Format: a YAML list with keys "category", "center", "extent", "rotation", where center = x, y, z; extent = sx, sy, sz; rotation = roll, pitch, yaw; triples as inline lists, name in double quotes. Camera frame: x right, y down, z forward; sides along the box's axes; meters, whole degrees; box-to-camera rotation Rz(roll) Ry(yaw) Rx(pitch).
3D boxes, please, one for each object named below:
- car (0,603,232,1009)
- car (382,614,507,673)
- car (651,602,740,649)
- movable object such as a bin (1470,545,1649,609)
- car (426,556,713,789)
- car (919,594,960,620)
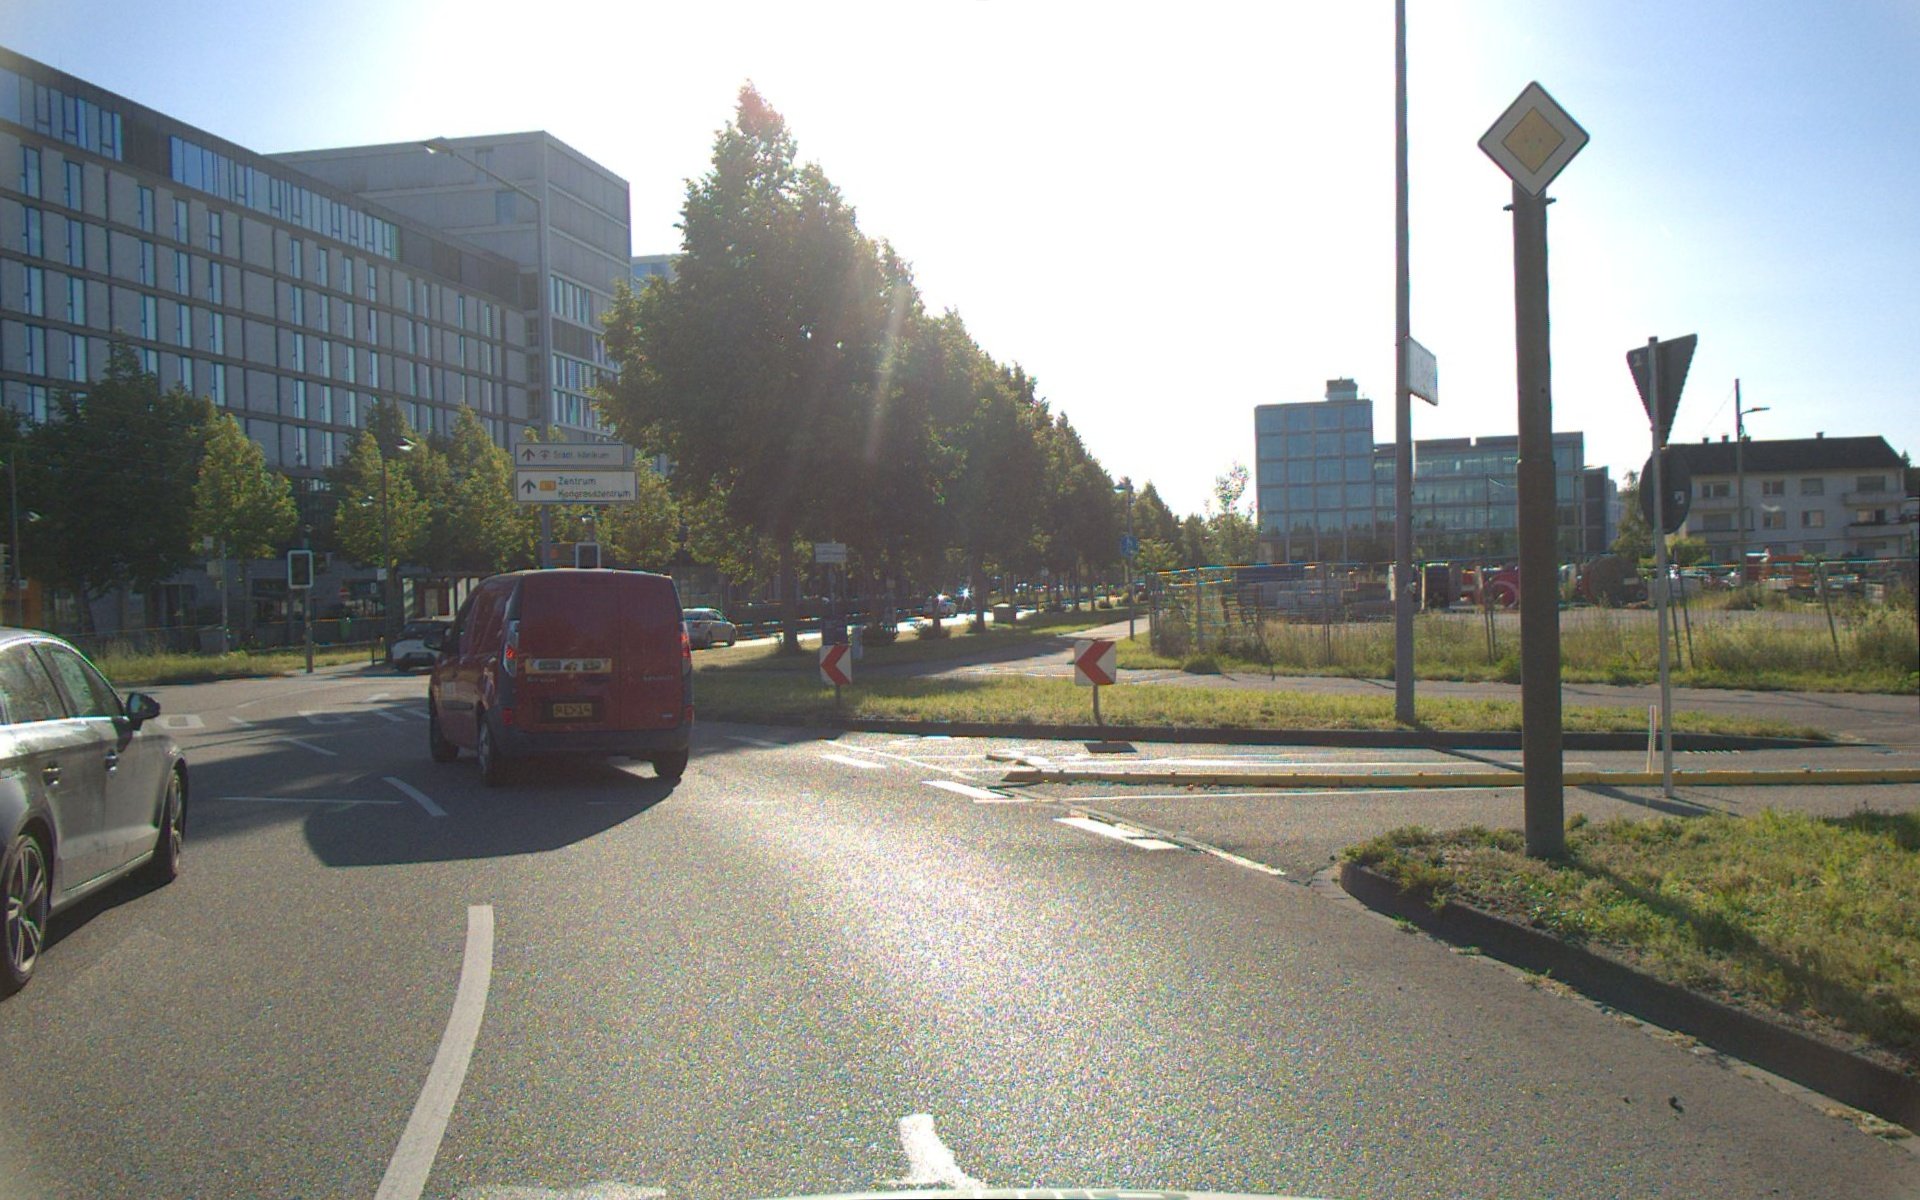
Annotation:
- category: "car"
  center: [-4.620, 0.755, 7.300]
  extent: [1.730, 1.404, 4.345]
  rotation: [-1, 1, -13]
- category: "car"
  center: [-14.027, 1.153, 45.205]
  extent: [1.764, 1.487, 3.813]
  rotation: [0, 0, 8]
- category: "car"
  center: [-10.154, 0.970, 63.887]
  extent: [1.951, 1.602, 4.412]
  rotation: [-2, 1, 11]
- category: "movable object such as a bin"
  center: [28.436, -1.105, 78.801]
  extent: [7.738, 2.831, 2.946]
  rotation: [-1, 1, 14]
- category: "car"
  center: [-3.691, 0.604, 15.172]
  extent: [1.781, 1.845, 3.777]
  rotation: [1, -1, -26]
- category: "car"
  center: [-1.355, 0.458, 110.876]
  extent: [1.951, 1.602, 4.412]
  rotation: [-2, 1, 10]
